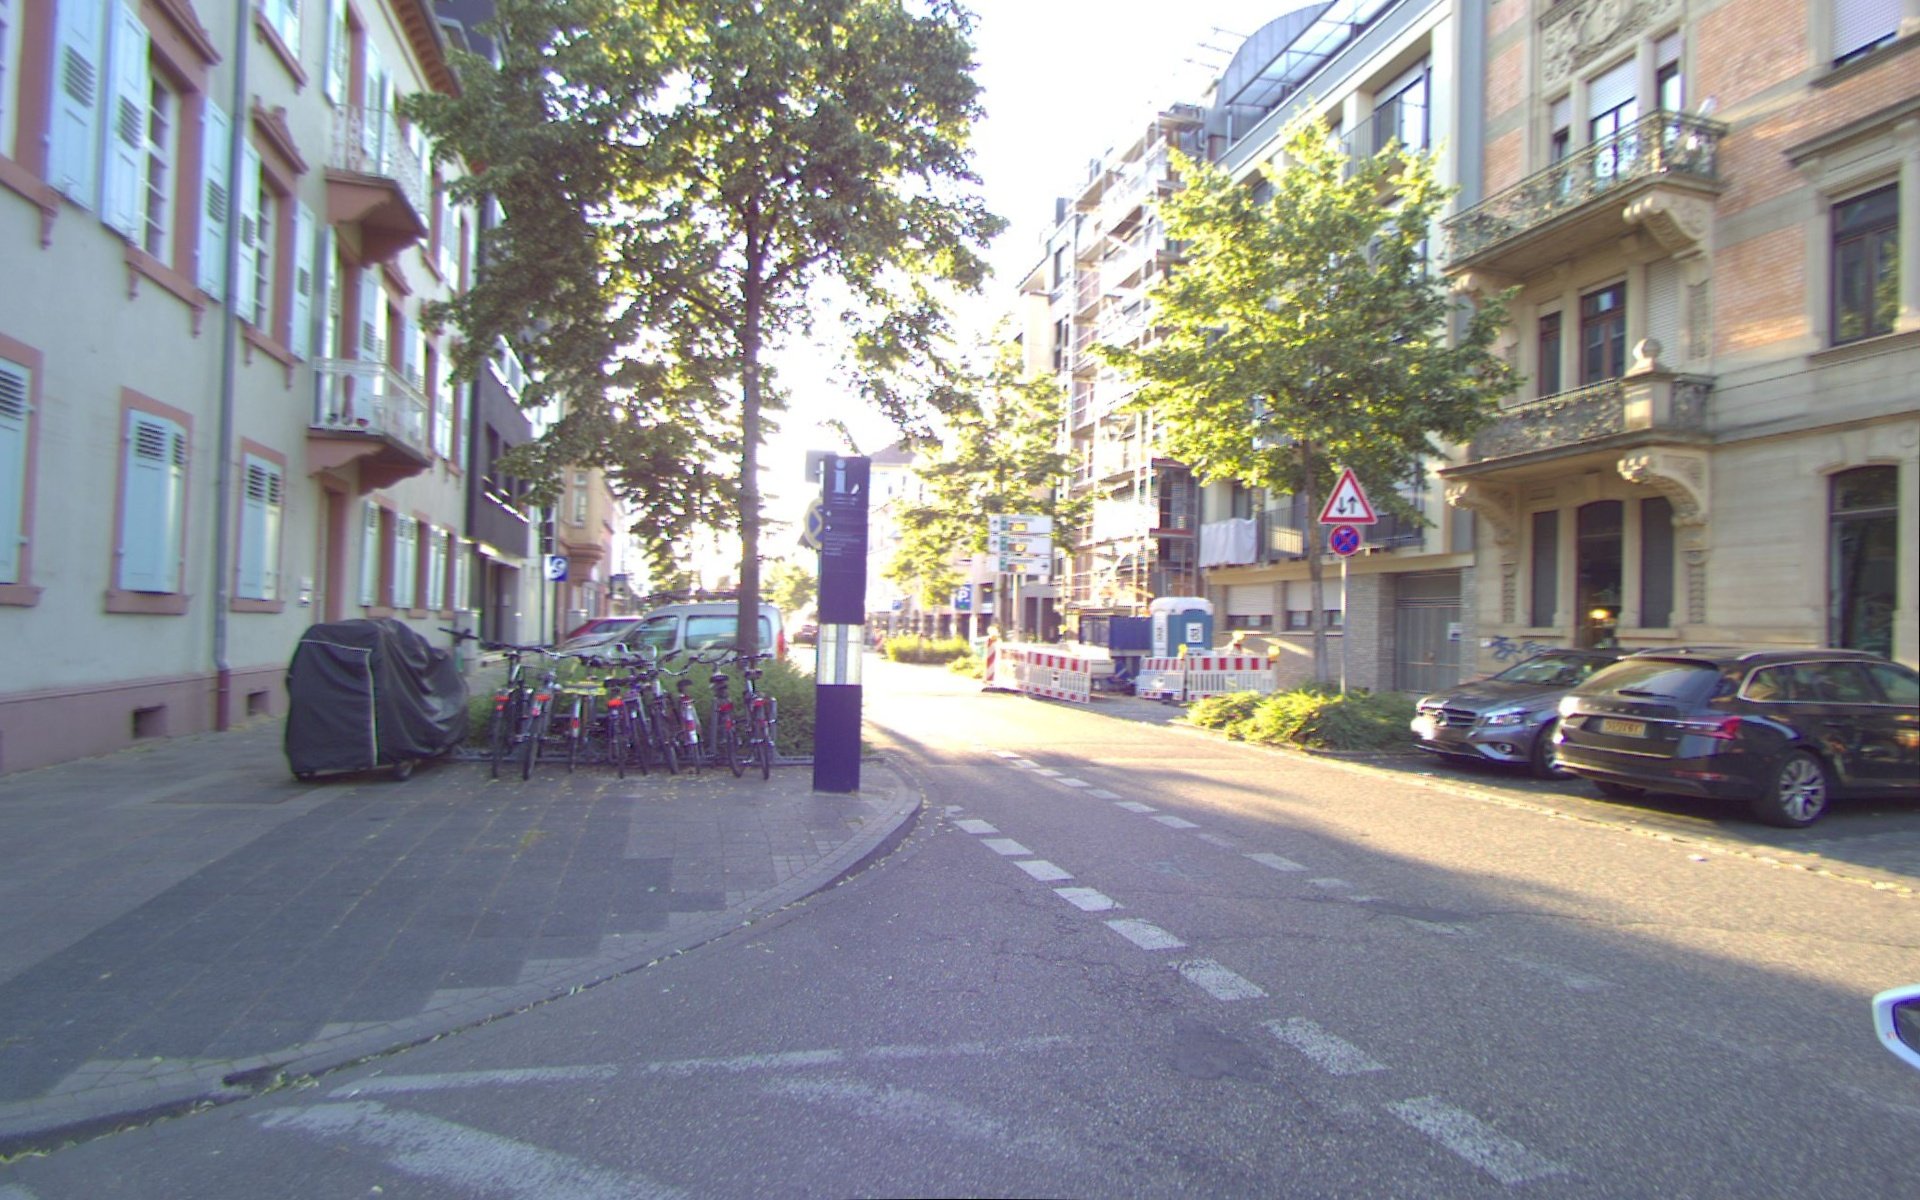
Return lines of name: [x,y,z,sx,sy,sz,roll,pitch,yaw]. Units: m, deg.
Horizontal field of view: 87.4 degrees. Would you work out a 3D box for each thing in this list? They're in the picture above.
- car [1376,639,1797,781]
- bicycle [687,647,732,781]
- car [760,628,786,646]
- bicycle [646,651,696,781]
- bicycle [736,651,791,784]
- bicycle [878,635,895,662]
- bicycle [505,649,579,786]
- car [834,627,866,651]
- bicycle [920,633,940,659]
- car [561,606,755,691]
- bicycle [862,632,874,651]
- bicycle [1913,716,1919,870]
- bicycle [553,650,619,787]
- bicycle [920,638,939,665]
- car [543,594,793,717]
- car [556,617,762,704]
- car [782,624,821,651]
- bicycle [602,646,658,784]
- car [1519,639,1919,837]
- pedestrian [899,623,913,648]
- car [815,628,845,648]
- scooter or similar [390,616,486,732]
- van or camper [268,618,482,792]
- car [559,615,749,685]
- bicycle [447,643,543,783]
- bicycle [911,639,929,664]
car: [7.562,1.244,12.218,4.467,1.498,1.862,1,-2,-16]
bicycle: [-2.442,1.068,9.837,0.326,1.155,1.592,4,-2,-13]
car: [-17.098,3.338,91.589,1.897,1.433,4.534,5,-3,-15]
bicycle: [-2.761,1.070,9.681,0.314,1.096,1.592,4,-2,-13]
bicycle: [-1.921,1.083,9.700,0.390,1.122,1.708,4,-3,-13]
bicycle: [-3.219,2.109,43.838,0.377,1.114,1.517,2,-2,-19]
bicycle: [-3.737,1.007,9.056,0.318,1.096,1.592,2,-2,-13]
car: [-7.418,2.603,67.446,1.612,1.574,2.684,1,-2,-18]
bicycle: [-1.356,2.052,45.153,0.377,1.114,1.515,2,-2,-22]
car: [-6.384,1.052,21.583,3.772,1.605,1.737,3,-3,-13]
bicycle: [-6.130,2.762,67.108,0.392,1.250,1.818,1,-2,-18]
bicycle: [7.143,1.331,6.204,0.561,1.060,1.827,1,-1,-13]
bicycle: [-3.381,1.026,9.155,0.336,1.096,1.592,2,-2,-13]
bicycle: [-1.423,2.367,46.433,0.377,1.205,1.516,3,-2,-19]
car: [-4.758,0.930,16.783,3.757,1.874,1.696,2,-2,-13]
car: [-5.682,1.147,19.375,3.597,1.535,1.646,2,-1,-11]
car: [-10.735,2.504,67.795,1.969,1.676,4.659,4,-3,-15]
bicycle: [-3.065,1.025,9.405,0.307,1.163,1.608,2,-3,-13]
car: [7.866,1.151,9.531,4.467,1.531,1.905,0,-1,-16]
pedestrian: [-3.563,2.337,65.787,0.800,1.668,0.604,0,-2,-16]
car: [-9.622,2.800,74.300,1.612,1.443,3.745,2,-2,-16]
scooter or similar: [-5.958,0.819,11.532,0.667,1.238,1.390,2,-1,-15]
van or camper: [-4.811,0.825,8.446,0.927,1.276,1.841,3,-2,-11]
car: [-7.257,1.206,23.960,4.156,1.536,1.755,2,-2,-19]
bicycle: [-4.108,0.958,8.963,0.390,1.096,1.592,4,-2,-13]
bicycle: [-1.860,2.371,46.435,0.377,1.114,1.517,3,-2,-19]
